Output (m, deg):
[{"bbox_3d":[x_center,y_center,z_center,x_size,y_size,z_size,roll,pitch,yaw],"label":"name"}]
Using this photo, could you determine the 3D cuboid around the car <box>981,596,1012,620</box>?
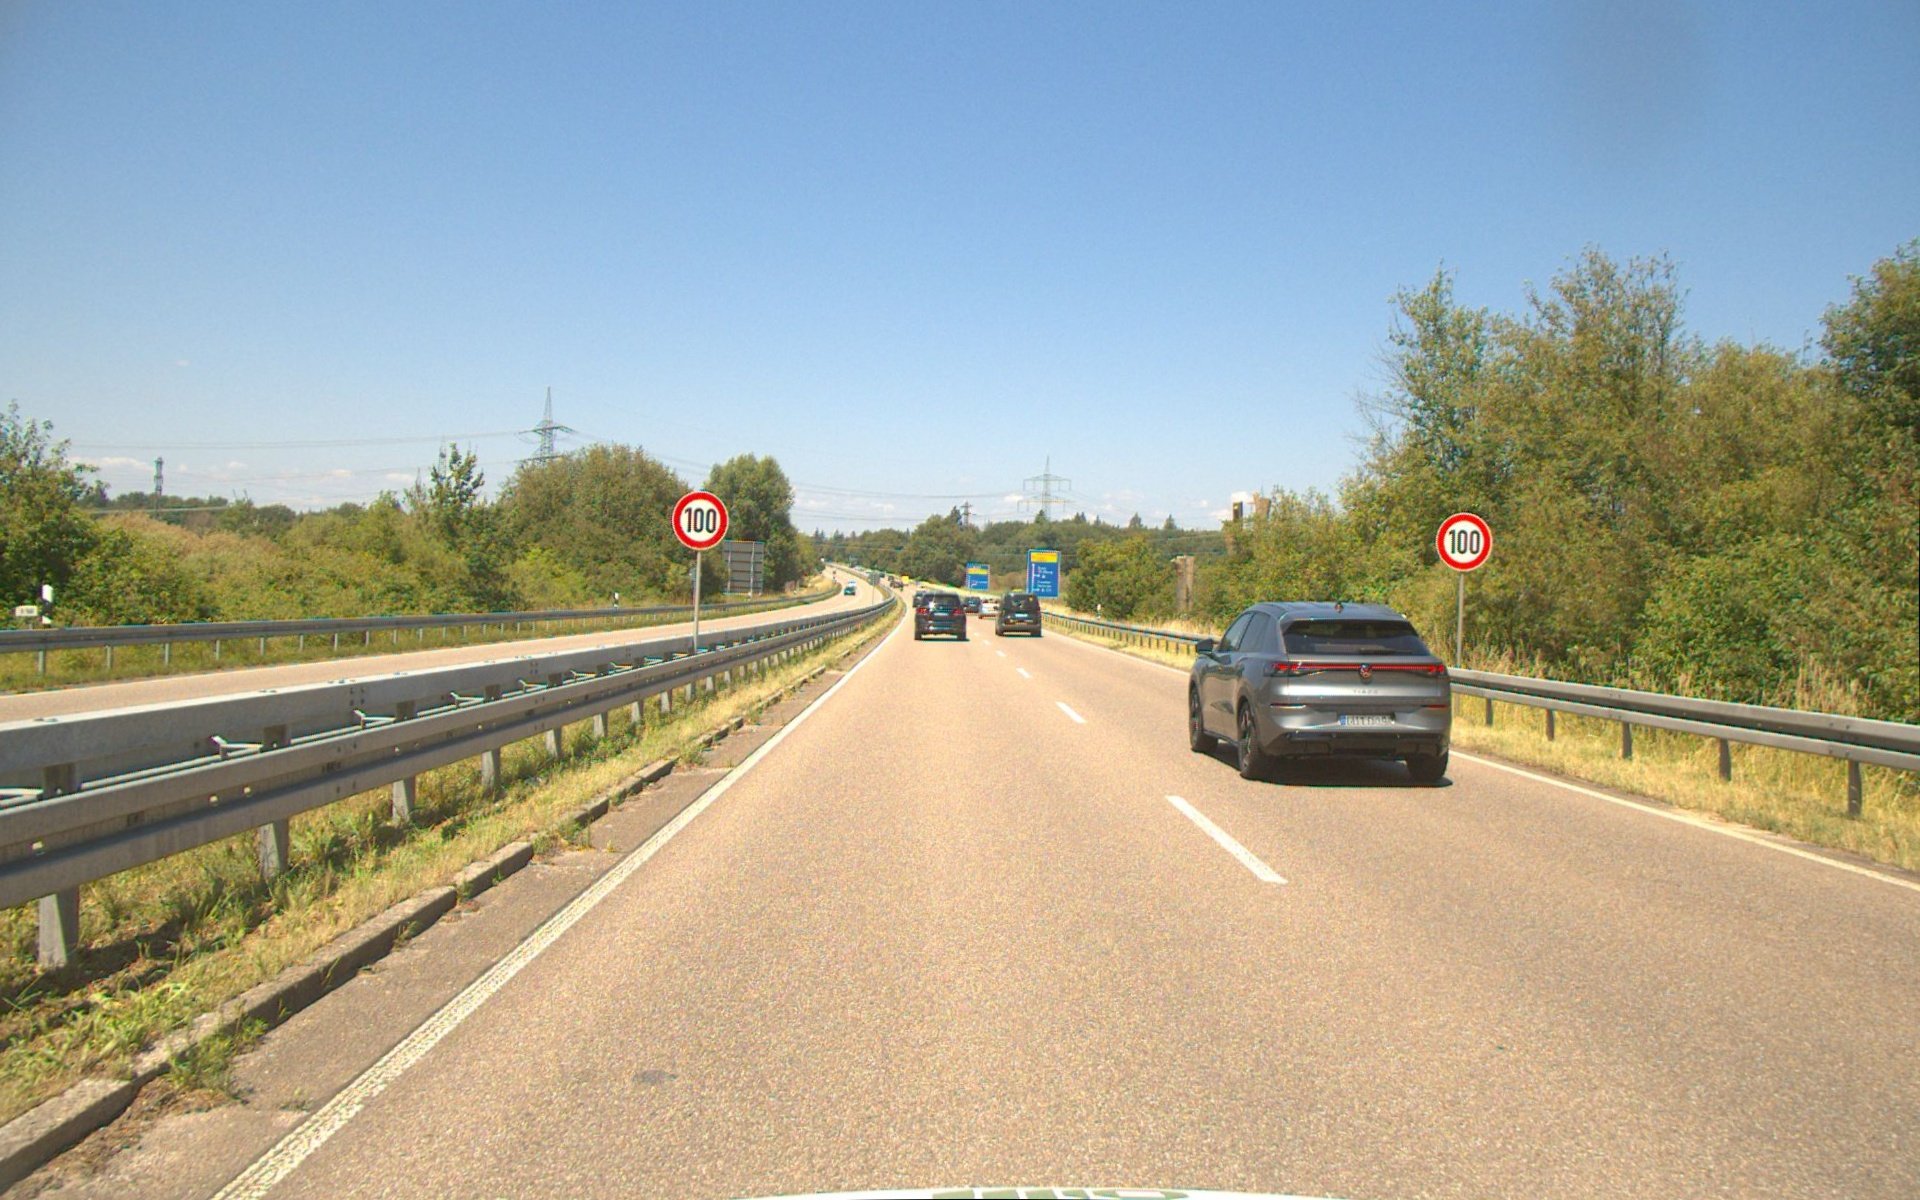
[{"bbox_3d":[2.511,0.526,113.853,1.744,1.505,4.313,4,0,-3],"label":"car"}]

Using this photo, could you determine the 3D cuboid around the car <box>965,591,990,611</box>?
[{"bbox_3d":[1.334,0.051,129.554,1.783,1.439,3.999,1,1,-2],"label":"car"}]

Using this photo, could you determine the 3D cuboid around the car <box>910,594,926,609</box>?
[{"bbox_3d":[-4.527,0.186,177.669,1.485,1.500,3.065,4,1,-3],"label":"car"}]

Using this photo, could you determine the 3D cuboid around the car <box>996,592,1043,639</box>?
[{"bbox_3d":[2.480,0.644,69.856,1.743,1.848,4.212,1,1,-1],"label":"car"}]

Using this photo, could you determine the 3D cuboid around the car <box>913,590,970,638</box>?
[{"bbox_3d":[-0.707,0.501,61.060,1.954,1.683,3.998,1,0,-3],"label":"car"}]

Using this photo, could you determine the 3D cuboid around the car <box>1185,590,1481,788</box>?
[{"bbox_3d":[3.346,0.726,15.616,1.749,1.580,4.018,1,1,-2],"label":"car"}]
